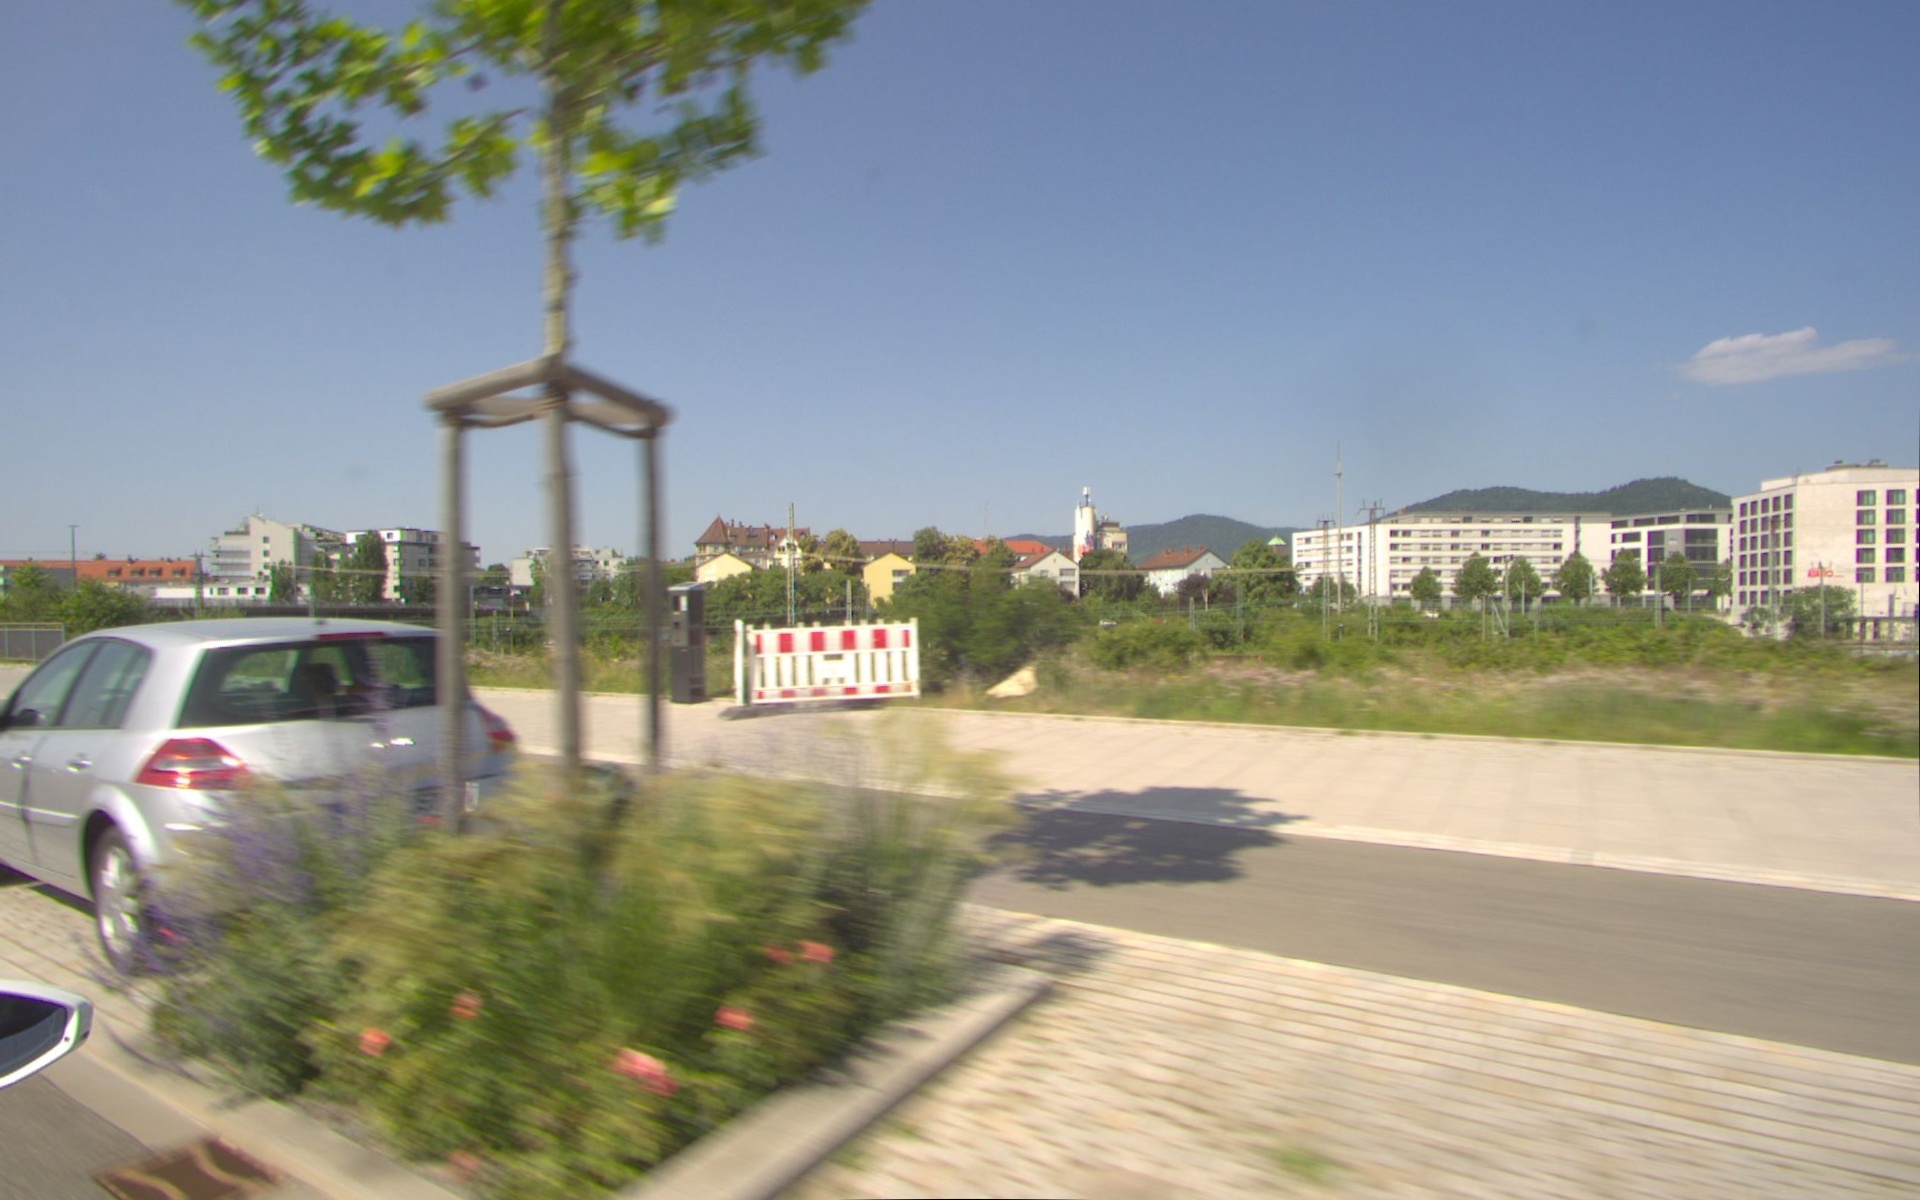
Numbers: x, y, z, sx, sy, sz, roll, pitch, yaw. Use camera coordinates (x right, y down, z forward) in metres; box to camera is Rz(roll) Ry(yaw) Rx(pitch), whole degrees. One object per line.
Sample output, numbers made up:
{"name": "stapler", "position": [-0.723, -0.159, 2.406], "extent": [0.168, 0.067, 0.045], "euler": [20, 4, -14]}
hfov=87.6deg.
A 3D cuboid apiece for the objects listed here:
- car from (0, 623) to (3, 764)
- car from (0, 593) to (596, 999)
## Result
{"name": "car", "position": [-11.722, 0.898, 10.349], "extent": [3.944, 1.529, 1.742], "euler": [-1, 0, 32]}
{"name": "car", "position": [-4.130, 0.747, 5.669], "extent": [4.102, 1.499, 1.902], "euler": [-1, 0, 36]}
